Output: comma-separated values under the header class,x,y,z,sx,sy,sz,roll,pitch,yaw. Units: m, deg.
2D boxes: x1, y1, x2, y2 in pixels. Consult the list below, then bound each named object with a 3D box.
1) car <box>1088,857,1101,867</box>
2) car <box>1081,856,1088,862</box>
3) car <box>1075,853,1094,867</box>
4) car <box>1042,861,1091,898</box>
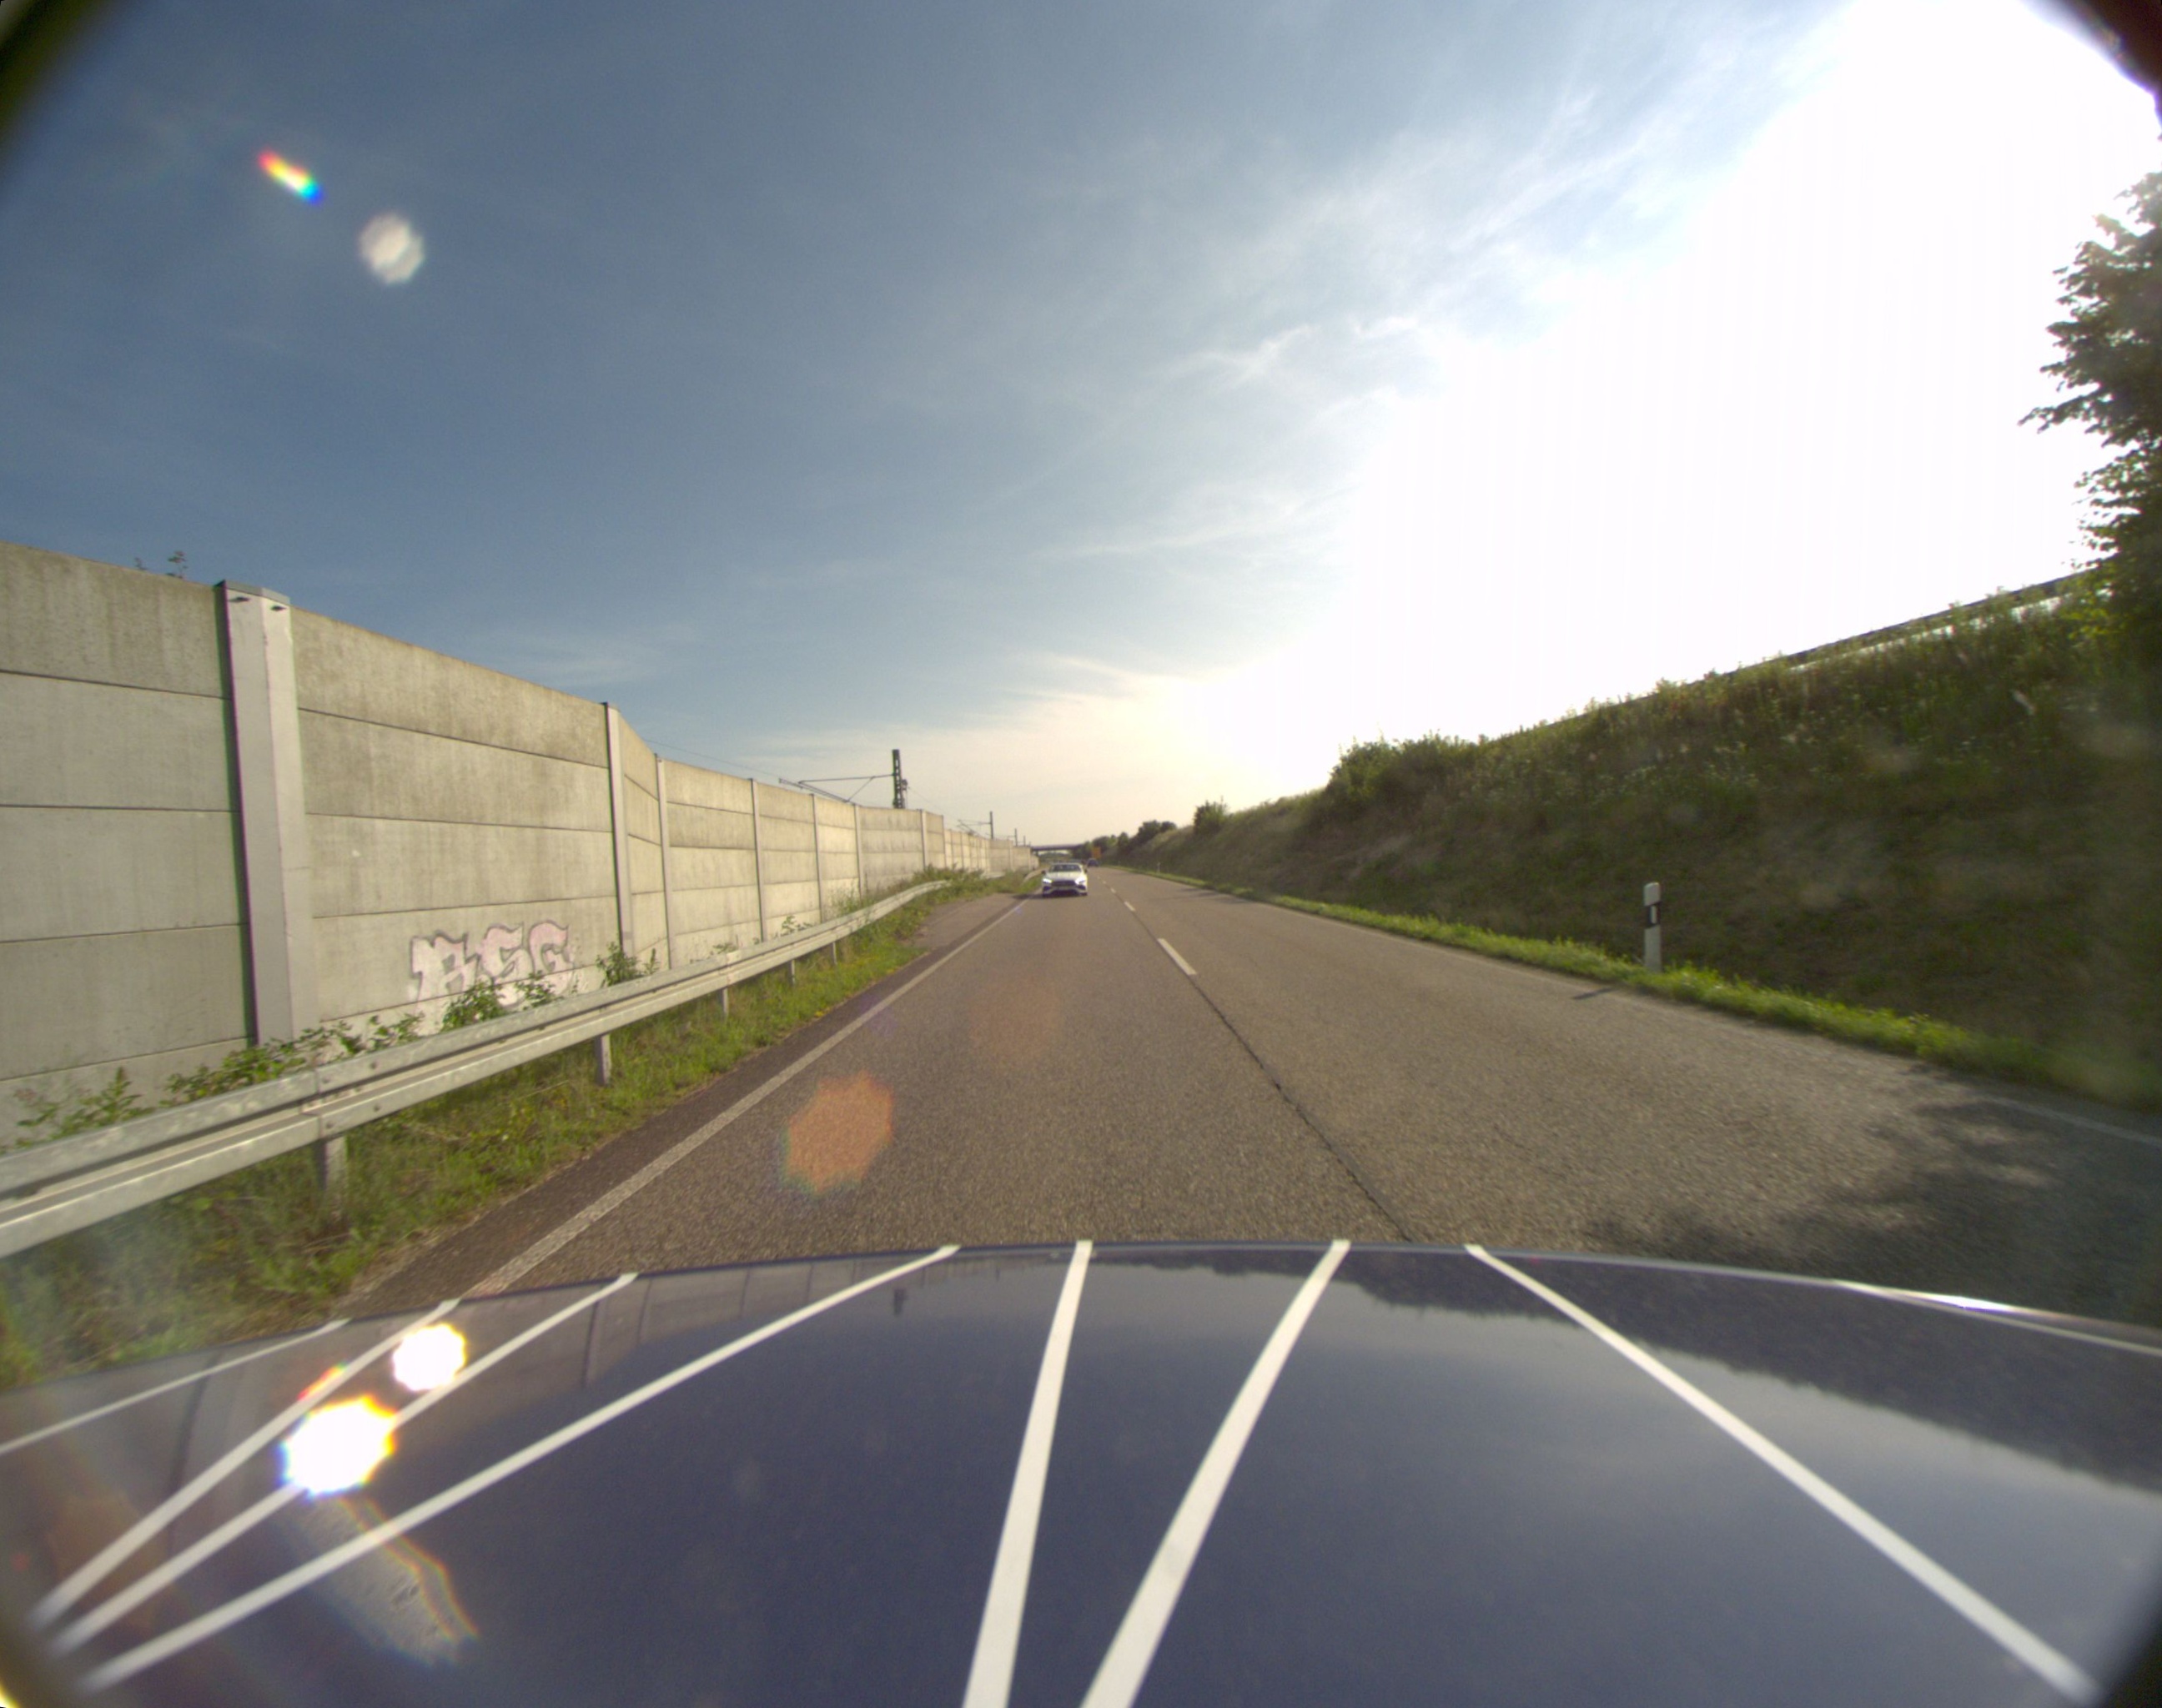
class,x,y,z,sx,sy,sz,roll,pitch,yaw
car,2.402,1.448,137.789,2.146,1.564,5.339,-3,0,0
car,0.800,1.199,189.097,1.721,1.445,4.018,-1,0,-1
car,0.361,0.657,83.299,1.930,1.399,4.973,-1,1,0
car,-0.583,1.053,32.900,1.930,1.398,4.974,-2,0,0
